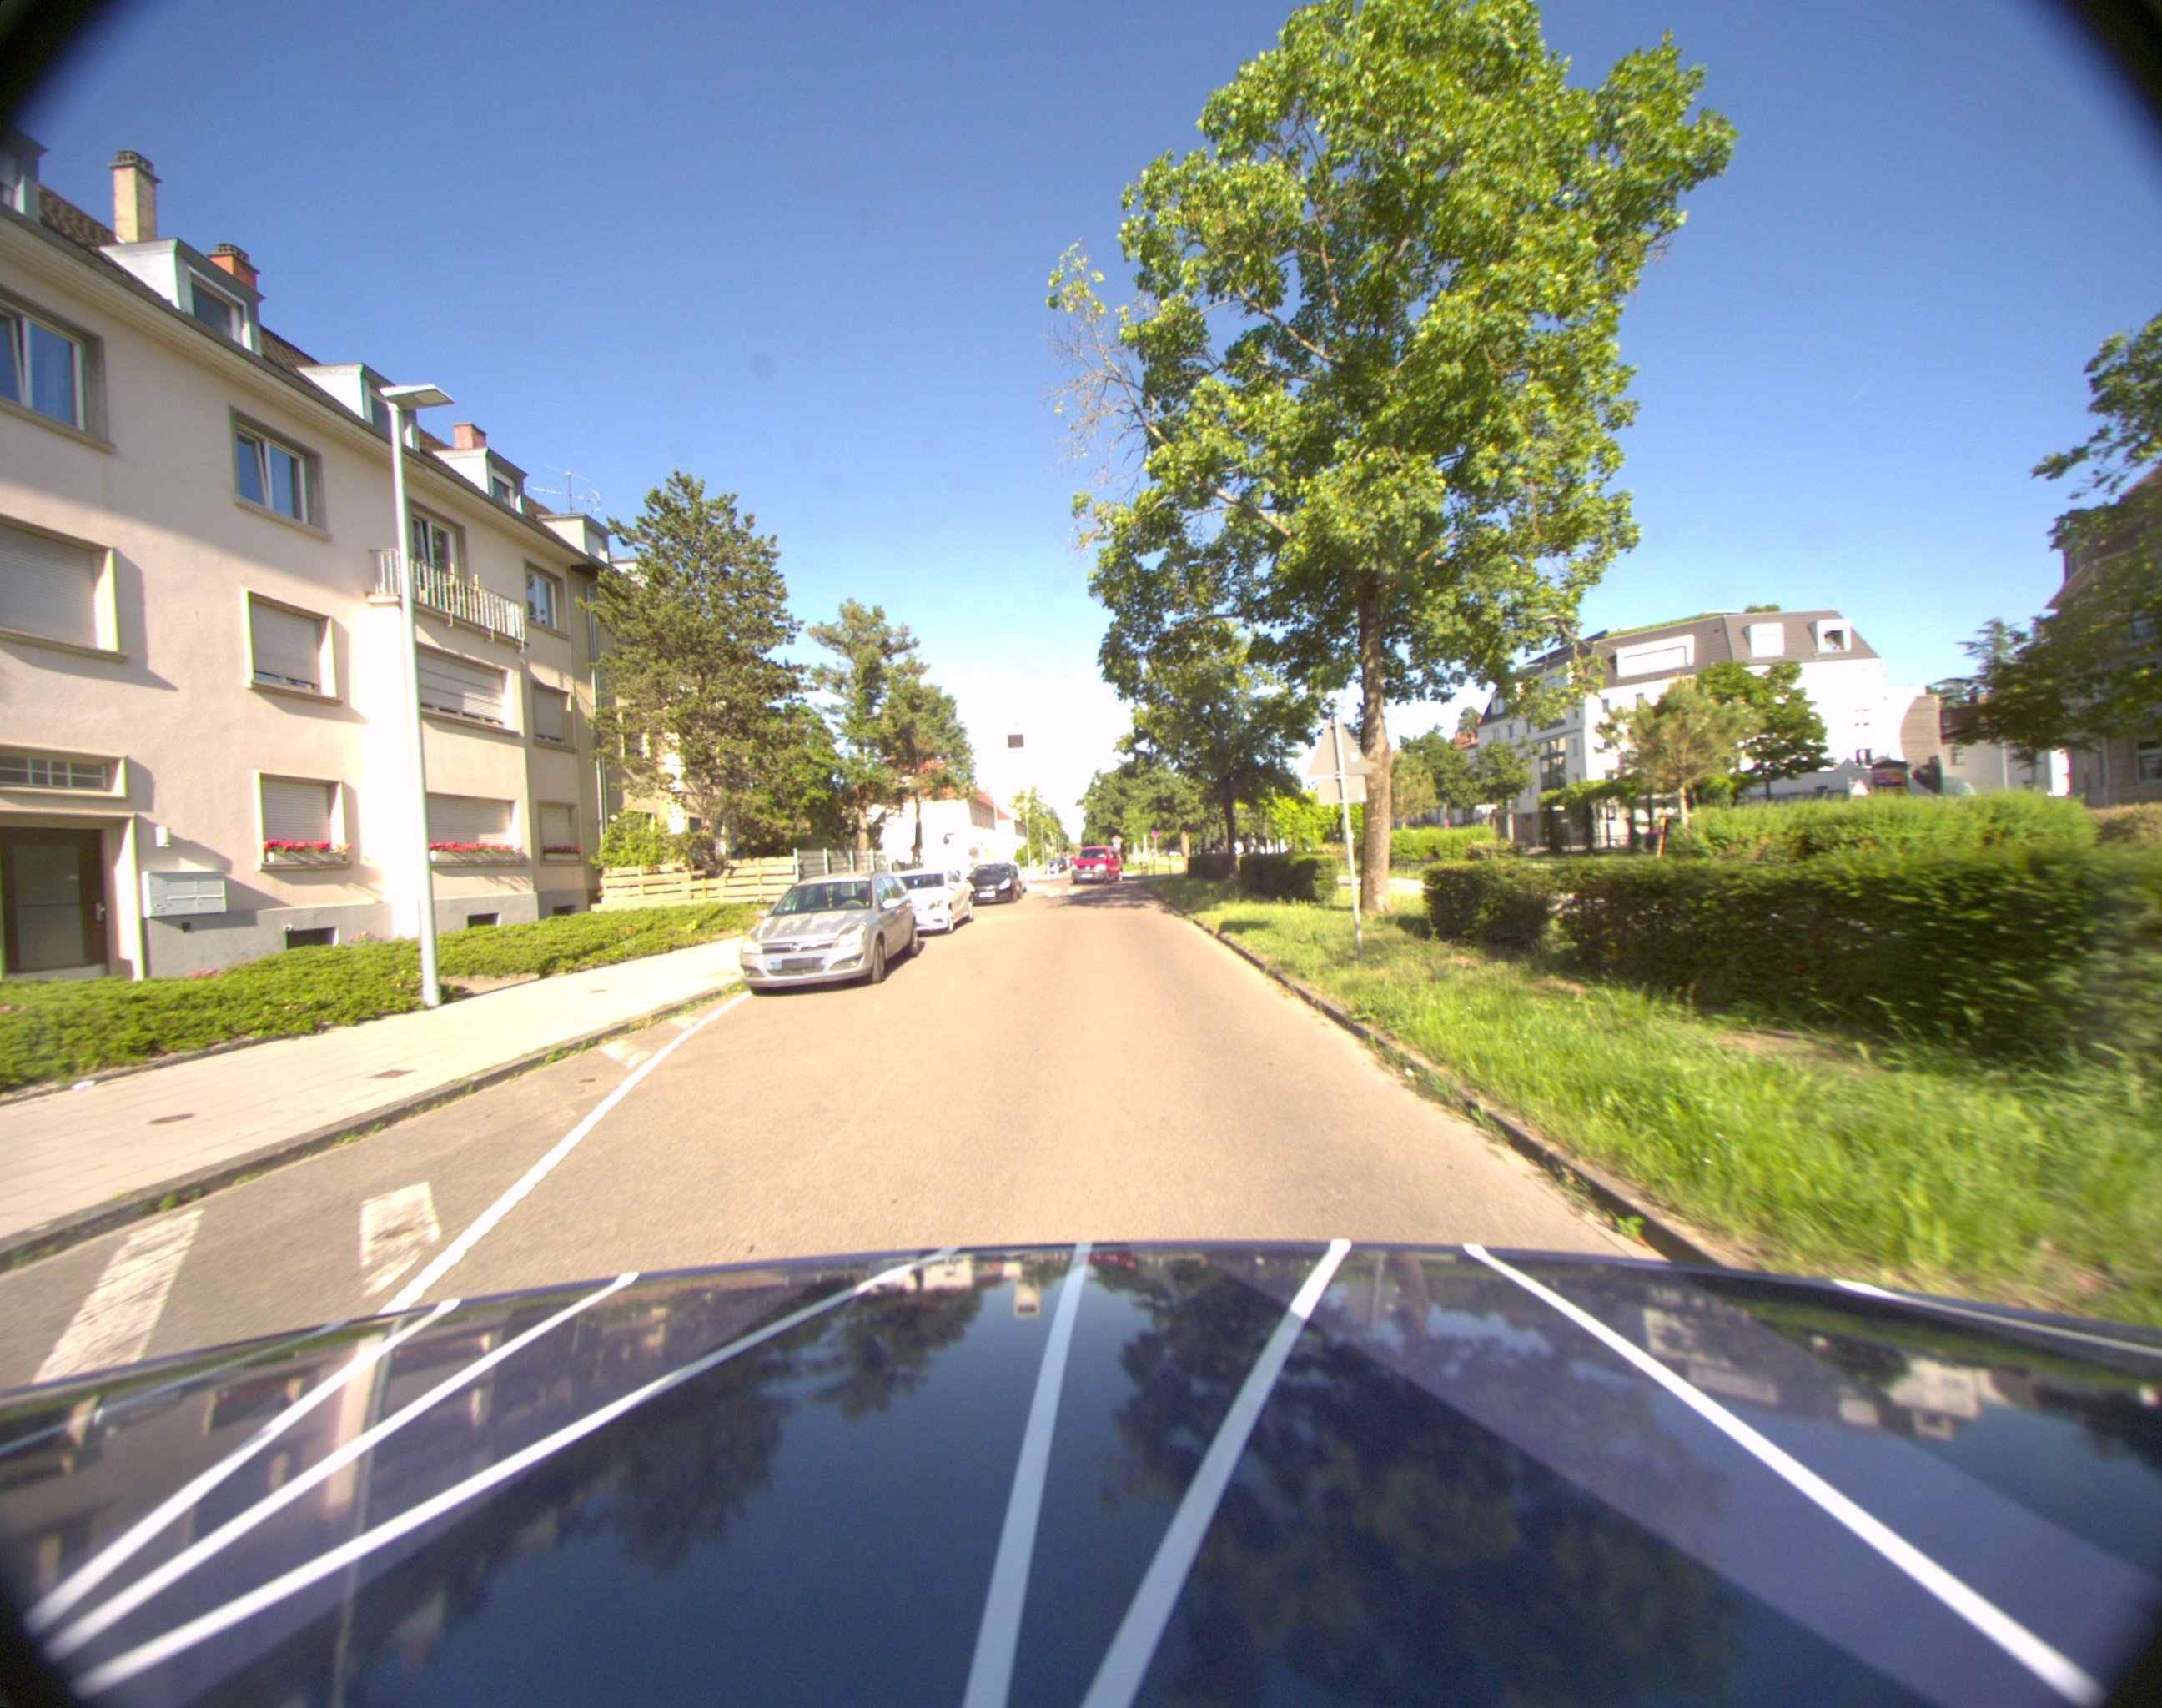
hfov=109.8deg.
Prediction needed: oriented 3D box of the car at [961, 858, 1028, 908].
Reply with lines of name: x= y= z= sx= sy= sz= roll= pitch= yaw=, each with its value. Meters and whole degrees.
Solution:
car: x=-3.066 y=0.979 z=27.655 sx=1.799 sy=1.501 sz=3.994 roll=-5 pitch=0 yaw=1

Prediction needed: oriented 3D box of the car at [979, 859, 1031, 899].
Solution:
car: x=-3.276 y=1.048 z=33.412 sx=1.676 sy=1.414 sz=4.134 roll=-5 pitch=0 yaw=1

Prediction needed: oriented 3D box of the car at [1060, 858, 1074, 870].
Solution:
car: x=-1.999 y=1.392 z=108.424 sx=1.799 sy=1.529 sz=4.001 roll=-3 pitch=-1 yaw=0

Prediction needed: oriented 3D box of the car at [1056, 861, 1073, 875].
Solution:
car: x=-1.932 y=1.614 z=88.274 sx=1.799 sy=1.529 sz=4.001 roll=-3 pitch=-1 yaw=0

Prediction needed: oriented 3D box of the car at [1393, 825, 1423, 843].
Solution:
car: x=40.693 y=-2.479 z=94.726 sx=1.941 sy=2.017 sz=4.406 roll=-2 pitch=1 yaw=3

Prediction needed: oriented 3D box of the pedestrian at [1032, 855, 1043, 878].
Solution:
pedestrian: x=-3.203 y=0.910 z=55.971 sx=0.650 sy=1.658 sz=0.649 roll=-3 pitch=3 yaw=-11

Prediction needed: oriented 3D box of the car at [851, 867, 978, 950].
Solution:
car: x=-3.642 y=1.134 z=17.483 sx=1.799 sy=1.413 sz=4.288 roll=-5 pitch=0 yaw=1

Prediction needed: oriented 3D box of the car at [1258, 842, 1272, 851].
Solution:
car: x=35.509 y=-1.431 z=146.706 sx=1.799 sy=1.501 sz=4.000 roll=-2 pitch=1 yaw=0

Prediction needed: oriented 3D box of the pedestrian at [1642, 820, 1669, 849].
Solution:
pedestrian: x=25.683 y=-0.878 z=33.974 sx=0.649 sy=1.231 sz=0.650 roll=-4 pitch=1 yaw=7

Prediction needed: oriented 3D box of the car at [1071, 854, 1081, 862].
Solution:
car: x=-1.052 y=0.905 z=157.883 sx=1.799 sy=1.529 sz=4.001 roll=-3 pitch=-1 yaw=0

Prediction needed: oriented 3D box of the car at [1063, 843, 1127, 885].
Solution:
car: x=0.831 y=0.458 z=40.008 sx=2.089 sy=2.001 sz=4.849 roll=-3 pitch=0 yaw=16

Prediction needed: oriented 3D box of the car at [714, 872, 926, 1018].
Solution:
car: x=-3.522 y=1.123 z=11.154 sx=1.664 sy=1.456 sz=4.410 roll=-5 pitch=0 yaw=-3

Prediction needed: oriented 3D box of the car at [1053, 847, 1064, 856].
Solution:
car: x=-4.122 y=-0.487 z=140.197 sx=1.799 sy=1.529 sz=4.001 roll=-3 pitch=-1 yaw=0

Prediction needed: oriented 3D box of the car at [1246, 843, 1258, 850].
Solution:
car: x=40.426 y=-1.738 z=180.101 sx=1.799 sy=1.603 sz=4.405 roll=-2 pitch=1 yaw=0

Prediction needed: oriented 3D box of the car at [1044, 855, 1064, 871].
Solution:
car: x=-2.682 y=0.905 z=77.171 sx=1.799 sy=1.529 sz=4.001 roll=-3 pitch=-1 yaw=0
